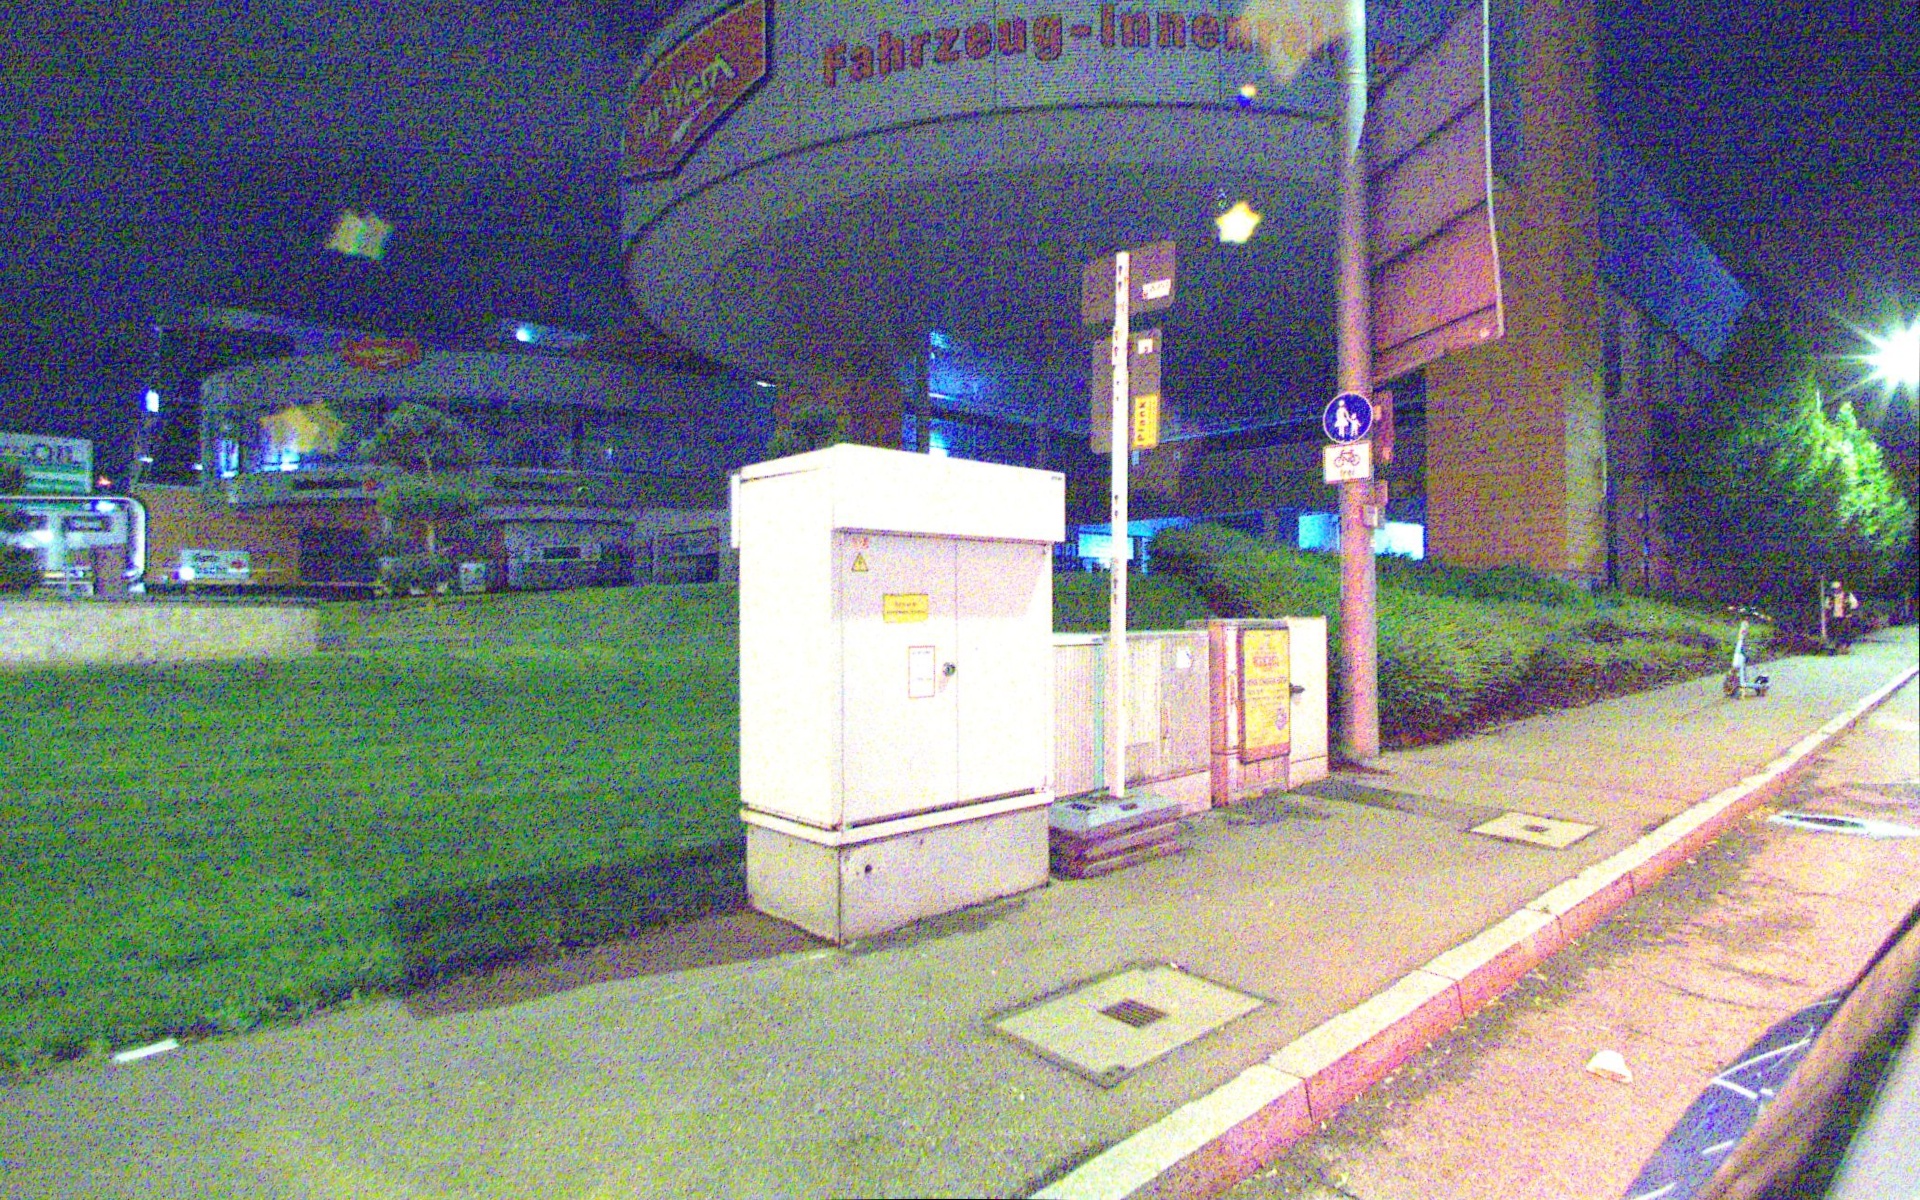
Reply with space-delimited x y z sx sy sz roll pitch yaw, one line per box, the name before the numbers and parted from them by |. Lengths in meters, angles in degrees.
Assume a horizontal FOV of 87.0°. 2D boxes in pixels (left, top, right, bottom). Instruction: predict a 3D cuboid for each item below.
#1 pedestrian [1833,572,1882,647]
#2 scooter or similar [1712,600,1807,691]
pedestrian | 22.987 0.228 25.920 1.016 1.888 0.819 0 0 -41
scooter or similar | 11.043 0.619 13.981 1.111 1.217 0.470 1 -1 -17
